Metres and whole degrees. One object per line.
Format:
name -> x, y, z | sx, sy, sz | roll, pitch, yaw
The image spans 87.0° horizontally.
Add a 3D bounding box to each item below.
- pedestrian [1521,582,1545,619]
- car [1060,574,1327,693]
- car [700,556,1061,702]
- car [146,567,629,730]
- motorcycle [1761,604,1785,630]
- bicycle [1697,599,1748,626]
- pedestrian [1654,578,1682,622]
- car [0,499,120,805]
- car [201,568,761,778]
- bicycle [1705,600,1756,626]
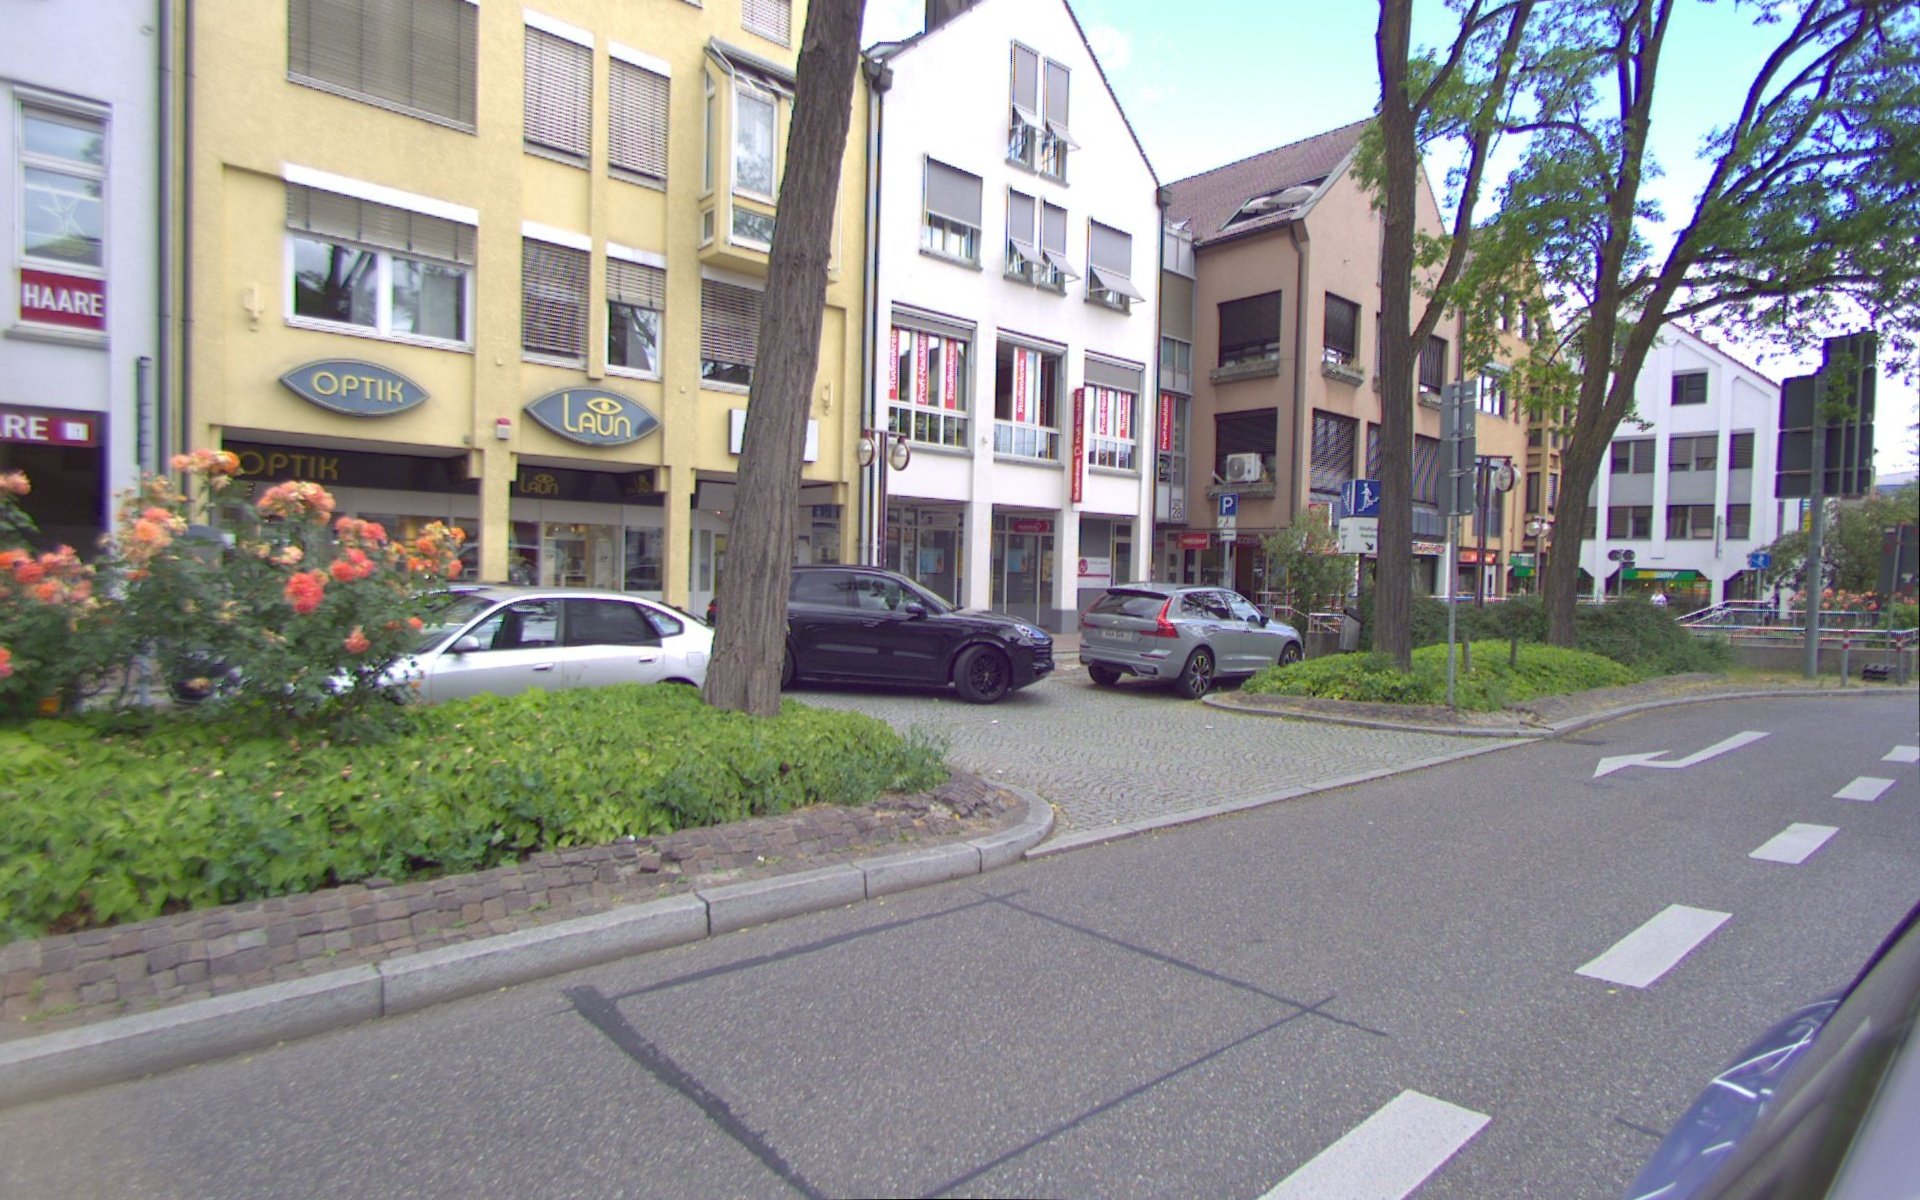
pedestrian -> 28.595, 0.023, 50.490 | 0.882, 1.779, 0.931 | 2, 1, 38
car -> 3.922, 0.452, 16.492 | 4.685, 1.615, 1.996 | 0, 2, -44
car -> -1.033, 0.330, 13.910 | 4.575, 1.690, 1.859 | 2, 2, 0
car -> -6.194, 0.411, 11.257 | 4.344, 1.393, 2.000 | 0, 3, -43
motorcycle -> 35.237, 0.719, 43.864 | 1.961, 1.081, 0.464 | 0, 1, -41
bicycle -> 30.563, 0.508, 40.582 | 1.584, 1.014, 0.409 | 2, 1, 37
pedestrian -> 30.349, -0.007, 43.368 | 0.772, 1.846, 0.869 | 0, 0, -45
car -> -7.817, 0.269, 5.803 | 4.528, 1.899, 1.883 | 0, 3, -43
car -> -4.191, 0.507, 9.338 | 4.344, 1.468, 1.765 | 0, 2, -43
bicycle -> 31.151, 0.519, 40.928 | 1.584, 0.981, 0.455 | 2, 1, 36
